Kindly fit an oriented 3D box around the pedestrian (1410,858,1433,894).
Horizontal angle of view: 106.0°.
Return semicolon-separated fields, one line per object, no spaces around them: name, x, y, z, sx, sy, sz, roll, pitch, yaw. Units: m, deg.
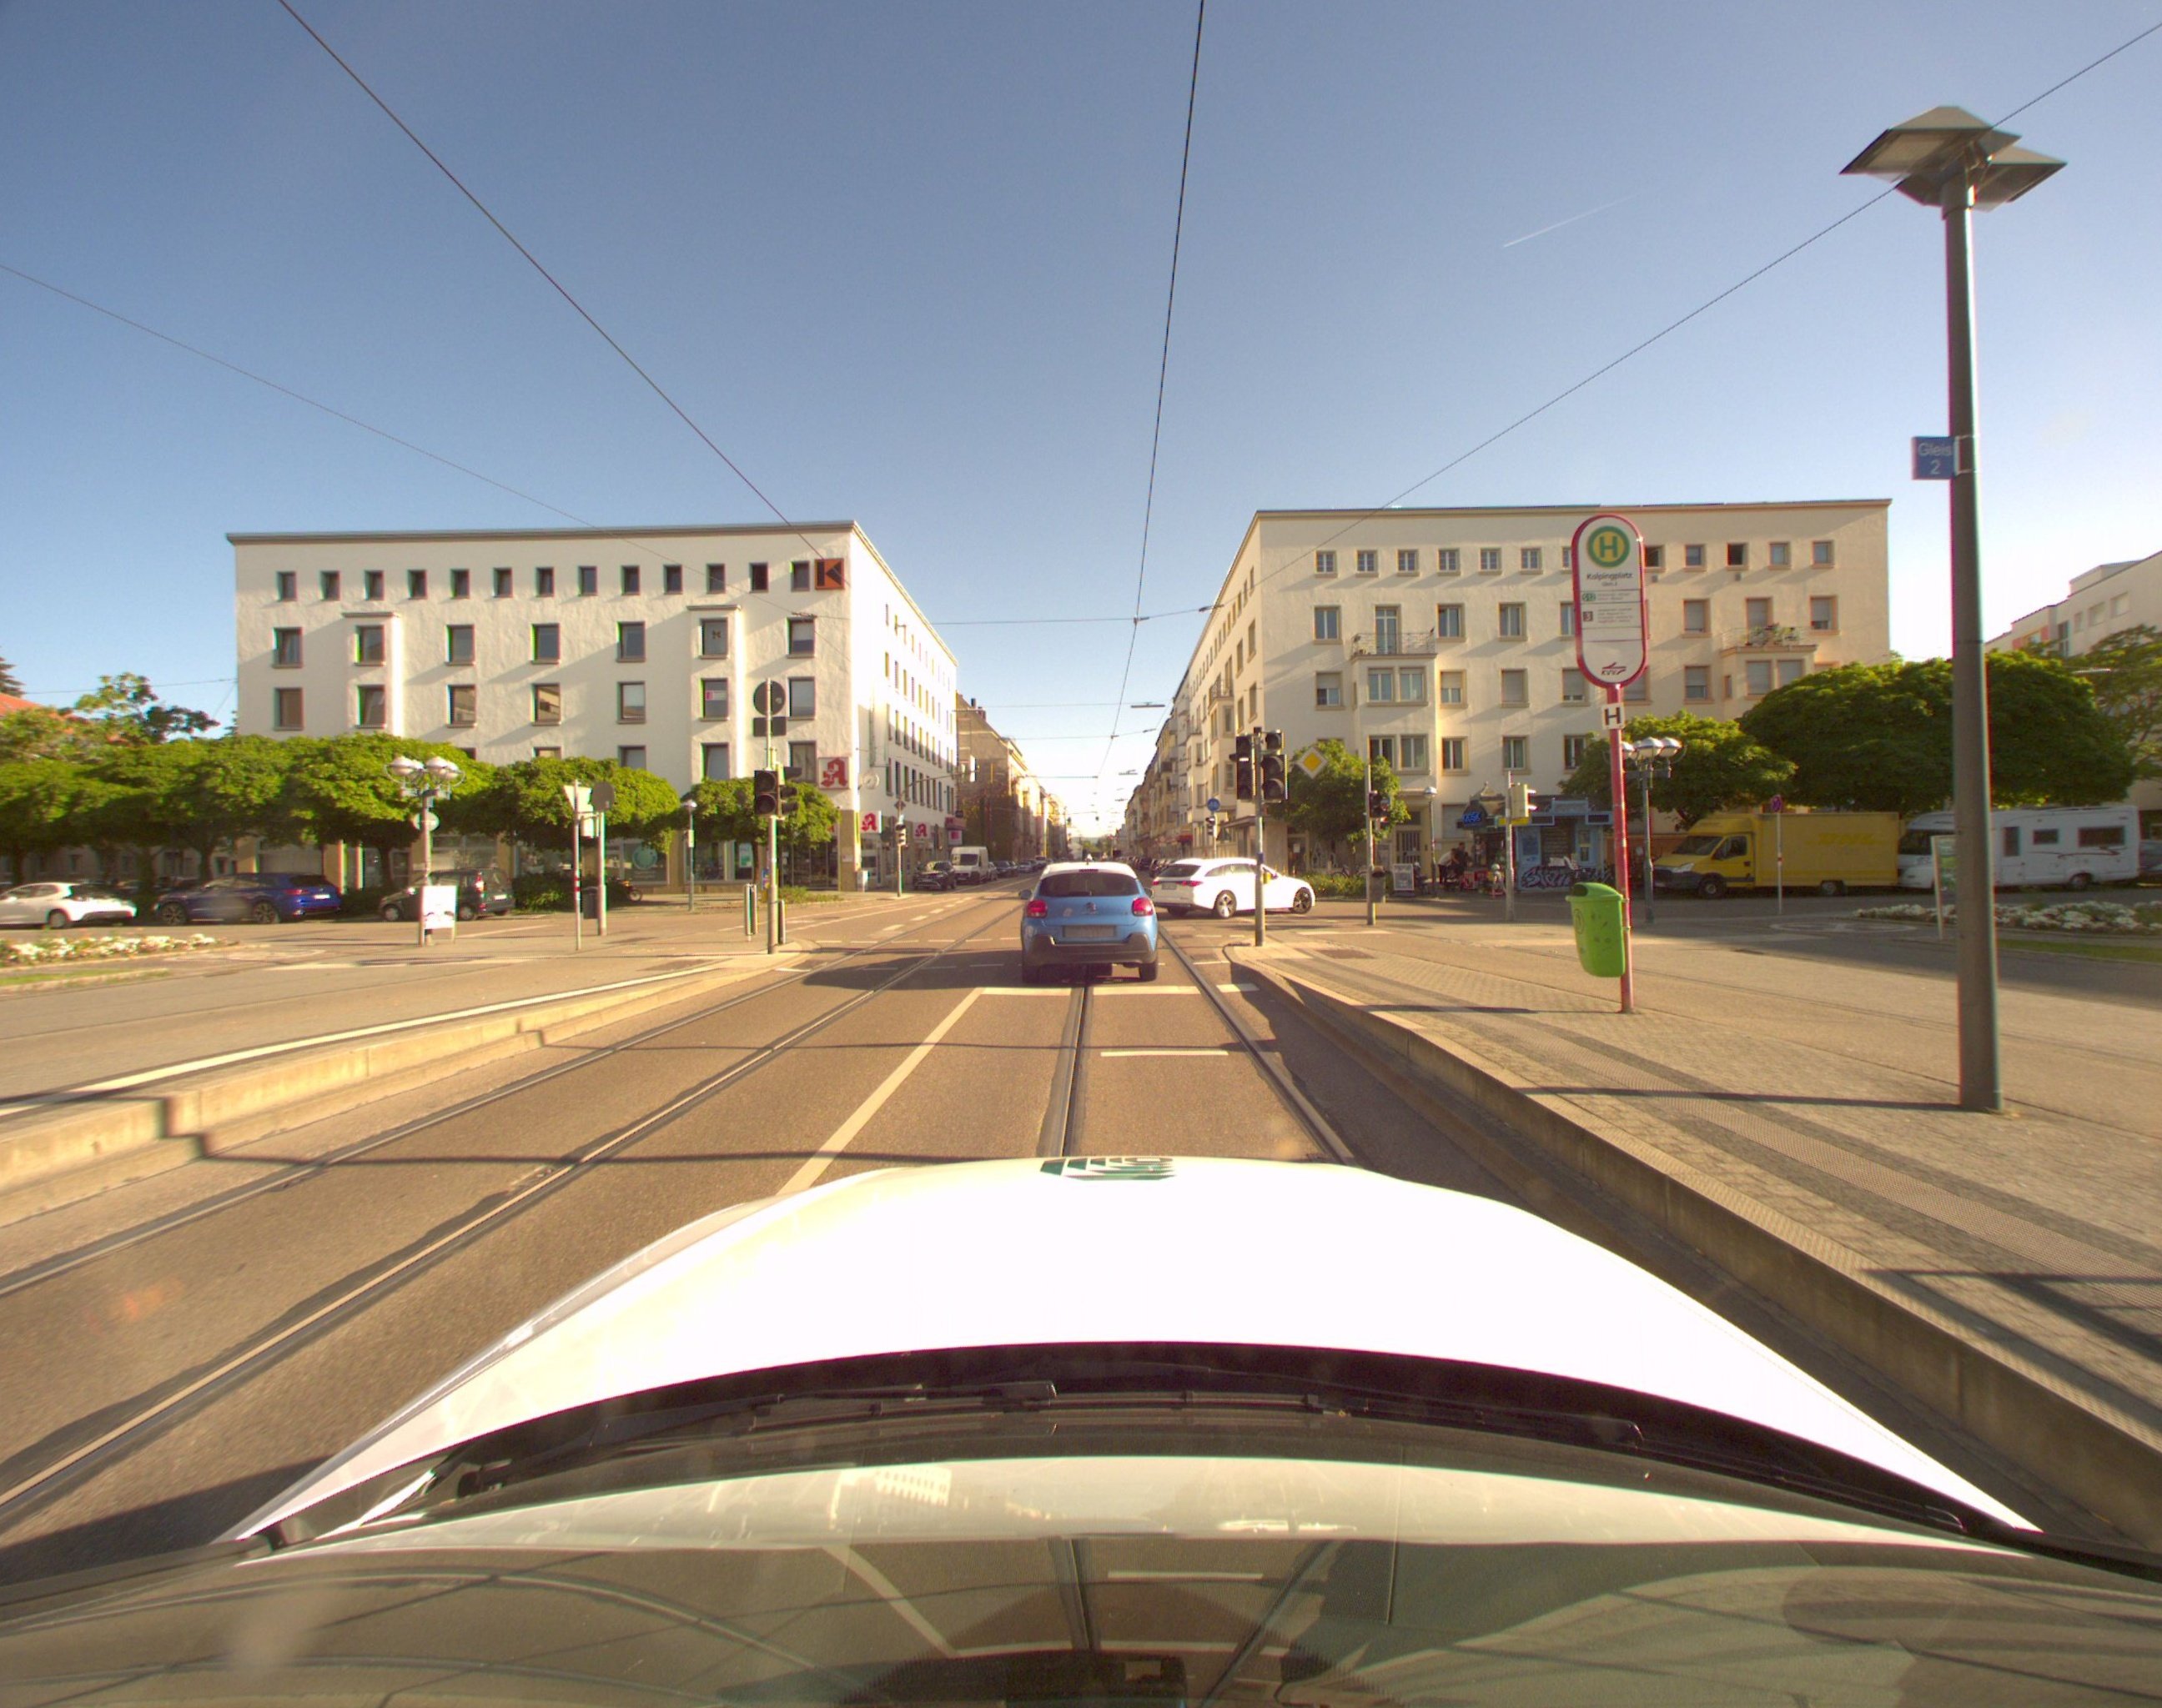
pedestrian;12.488;0.807;29.836;0.733;1.316;0.631;-1;-1;25

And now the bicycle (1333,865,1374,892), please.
bicycle;11.161;0.995;33.350;1.556;1.120;0.301;0;-1;12

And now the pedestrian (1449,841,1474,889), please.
pedestrian;14.737;0.415;31.559;0.650;1.839;0.660;-1;-1;5

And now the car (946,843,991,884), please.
car;-7.373;0.607;53.992;2.078;2.542;6.206;0;0;1

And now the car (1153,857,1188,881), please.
car;5.839;0.976;53.570;1.986;1.501;4.002;-1;0;2

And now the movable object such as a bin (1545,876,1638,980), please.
movable object such as a bin;4.083;0.580;6.541;0.447;0.786;0.489;-1;-1;4

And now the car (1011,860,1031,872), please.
car;-6.933;1.418;94.656;1.987;1.325;3.923;0;-1;1

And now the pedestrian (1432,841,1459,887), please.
pedestrian;14.899;0.392;33.274;0.781;1.839;0.679;-1;-1;5

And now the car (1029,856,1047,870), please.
car;-6.237;1.265;118.020;1.997;2.014;4.693;0;-1;4

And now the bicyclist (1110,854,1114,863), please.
bicyclist;7.381;1.038;193.047;0.806;2.014;0.923;0;-1;2

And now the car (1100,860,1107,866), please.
car;7.061;2.729;252.213;1.986;1.772;4.001;-1;0;2

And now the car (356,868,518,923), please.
car;-21.512;1.364;27.311;3.973;1.706;1.826;-1;-1;1

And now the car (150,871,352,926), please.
car;-27.454;1.448;27.056;4.591;1.662;1.999;-1;-1;-1

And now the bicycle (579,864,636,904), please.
bicycle;-20.094;1.238;34.628;0.614;1.607;2.624;-1;-1;6

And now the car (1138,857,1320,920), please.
car;3.971;0.837;21.397;4.838;1.464;1.968;0;-2;-38

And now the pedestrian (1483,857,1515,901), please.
pedestrian;14.292;0.847;27.838;0.727;1.409;0.755;-1;2;2

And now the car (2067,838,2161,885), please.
car;36.400;0.249;27.237;3.959;1.512;2.007;0;-1;13

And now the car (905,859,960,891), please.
car;-7.879;1.090;43.631;1.987;1.569;4.403;2;-1;1

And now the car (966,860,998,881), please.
car;-7.356;1.221;60.662;1.881;1.496;3.562;0;-1;1

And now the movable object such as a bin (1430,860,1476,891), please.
movable object such as a bin;14.093;0.804;30.913;1.194;1.153;1.218;-1;-1;2

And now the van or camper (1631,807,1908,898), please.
van or camper;22.597;-0.070;26.984;7.093;2.747;2.372;-1;1;2

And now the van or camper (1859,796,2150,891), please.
van or camper;29.856;-0.298;26.564;6.375;2.839;2.381;-1;-1;5

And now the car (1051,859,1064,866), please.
car;-4.231;1.514;145.405;1.986;1.156;4.002;-1;0;2

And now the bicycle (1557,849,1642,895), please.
bicycle;17.453;0.598;27.437;2.376;1.531;0.726;1;0;0

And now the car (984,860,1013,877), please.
car;-6.974;1.215;69.485;1.987;1.398;4.157;0;-1;1

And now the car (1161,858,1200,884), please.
car;5.899;0.981;48.648;1.986;1.464;4.002;-1;0;2

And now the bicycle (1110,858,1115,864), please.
bicycle;7.374;1.615;193.001;0.917;1.389;3.128;-1;0;-3

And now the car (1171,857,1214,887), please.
car;5.882;0.926;43.432;1.902;1.464;4.002;-1;0;2

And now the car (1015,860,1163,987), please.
car;0.150;0.827;11.456;1.721;1.482;3.828;0;0;2

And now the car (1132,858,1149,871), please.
car;7.364;1.307;100.727;1.986;1.464;4.002;-1;0;2

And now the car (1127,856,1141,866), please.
car;8.019;1.051;124.022;1.986;1.464;4.002;-1;0;2

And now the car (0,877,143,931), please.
car;-33.783;1.598;26.379;4.591;1.606;1.855;-1;-1;-1

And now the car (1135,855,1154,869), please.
car;7.282;0.933;93.067;1.985;1.464;4.507;-1;0;2

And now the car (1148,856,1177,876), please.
car;6.325;0.903;63.678;1.986;1.464;4.002;-1;0;2
